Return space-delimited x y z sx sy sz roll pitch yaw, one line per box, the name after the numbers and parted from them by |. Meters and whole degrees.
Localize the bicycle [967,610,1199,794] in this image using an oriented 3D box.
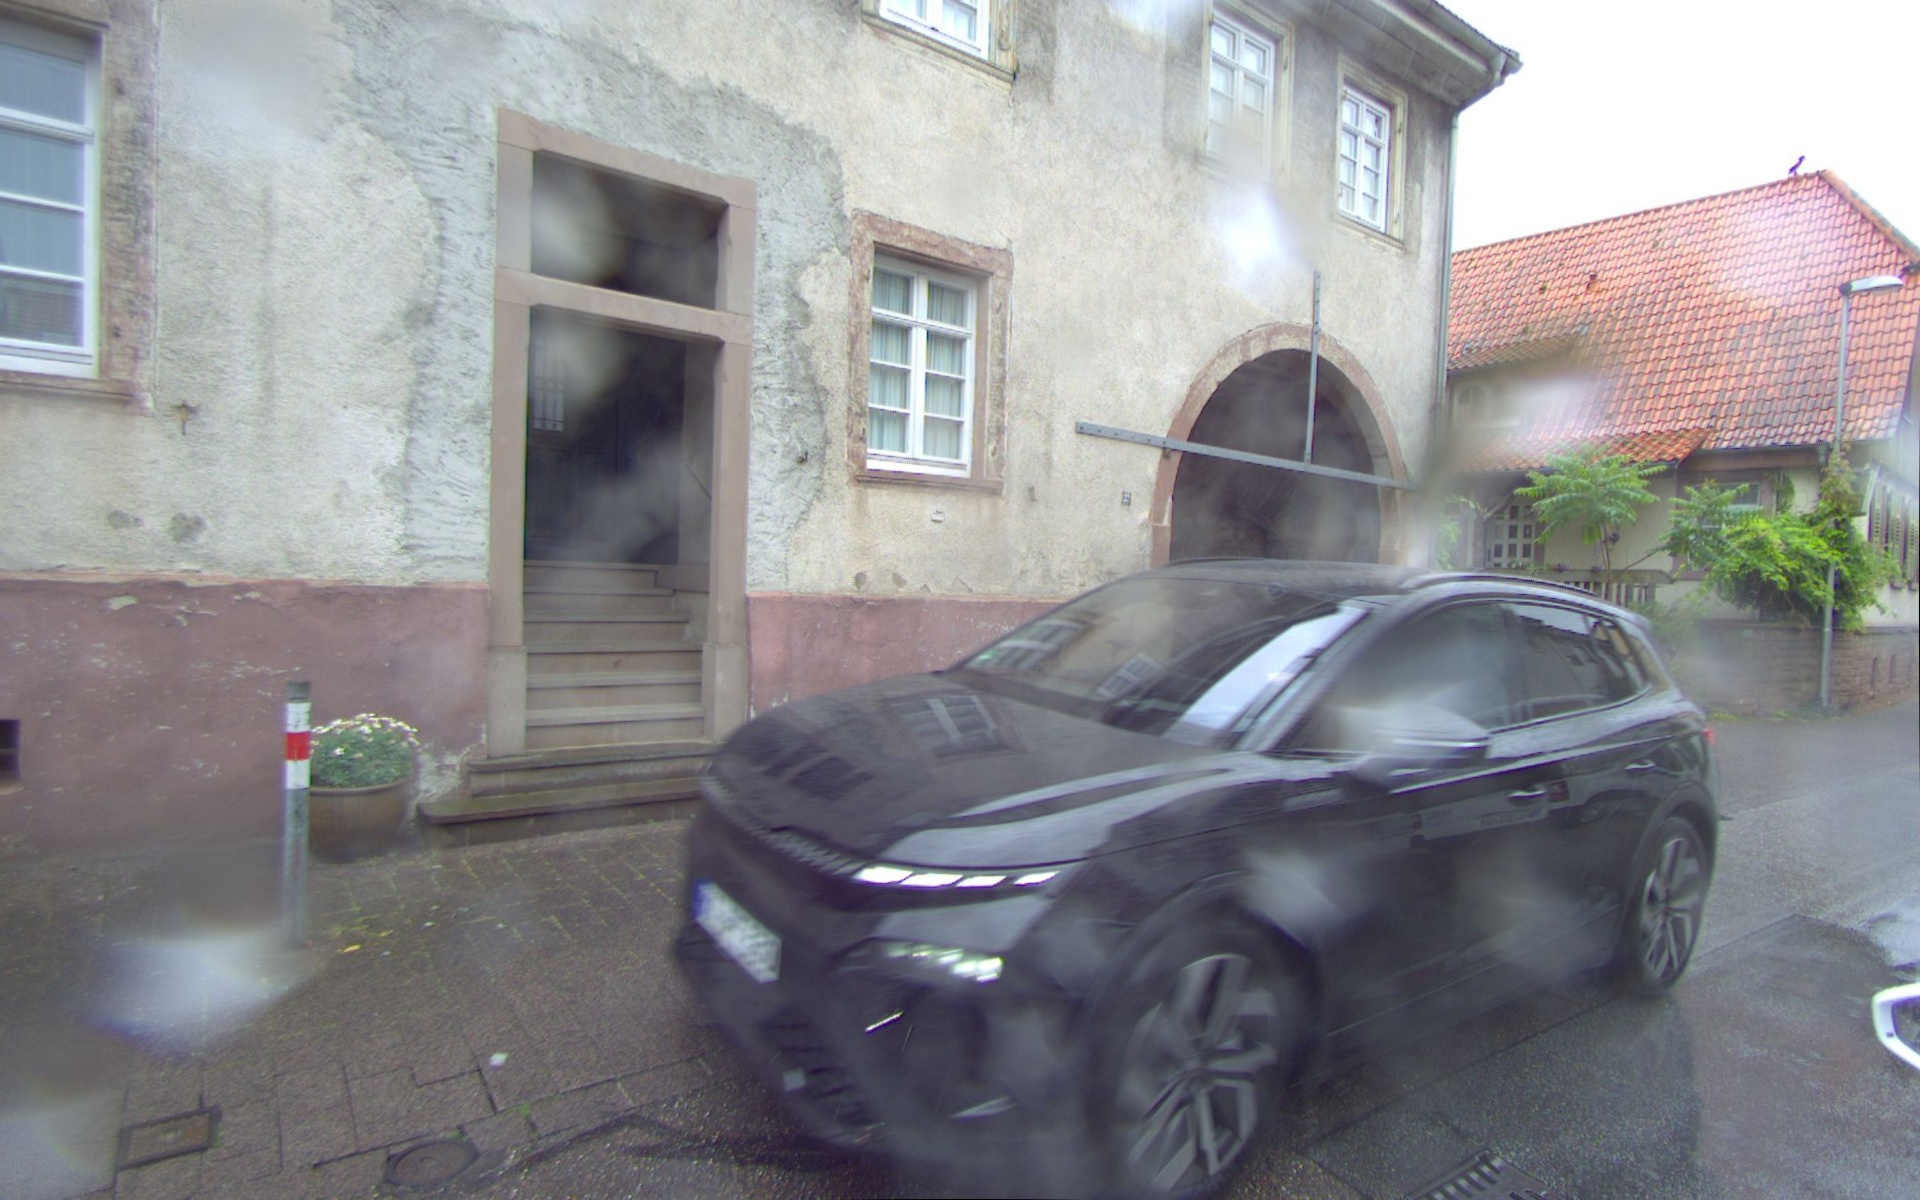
0.950 0.697 7.431 1.857 1.194 0.478 1 4 -38 | bicycle

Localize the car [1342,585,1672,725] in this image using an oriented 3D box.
8.008 0.719 15.112 1.715 1.444 3.968 2 5 -30 | car

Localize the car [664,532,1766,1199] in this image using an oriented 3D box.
1.247 0.681 3.869 4.199 1.576 1.819 2 1 -36 | car

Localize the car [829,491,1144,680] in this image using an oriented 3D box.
0.174 -0.292 13.509 1.869 1.957 4.195 6 3 -37 | car
